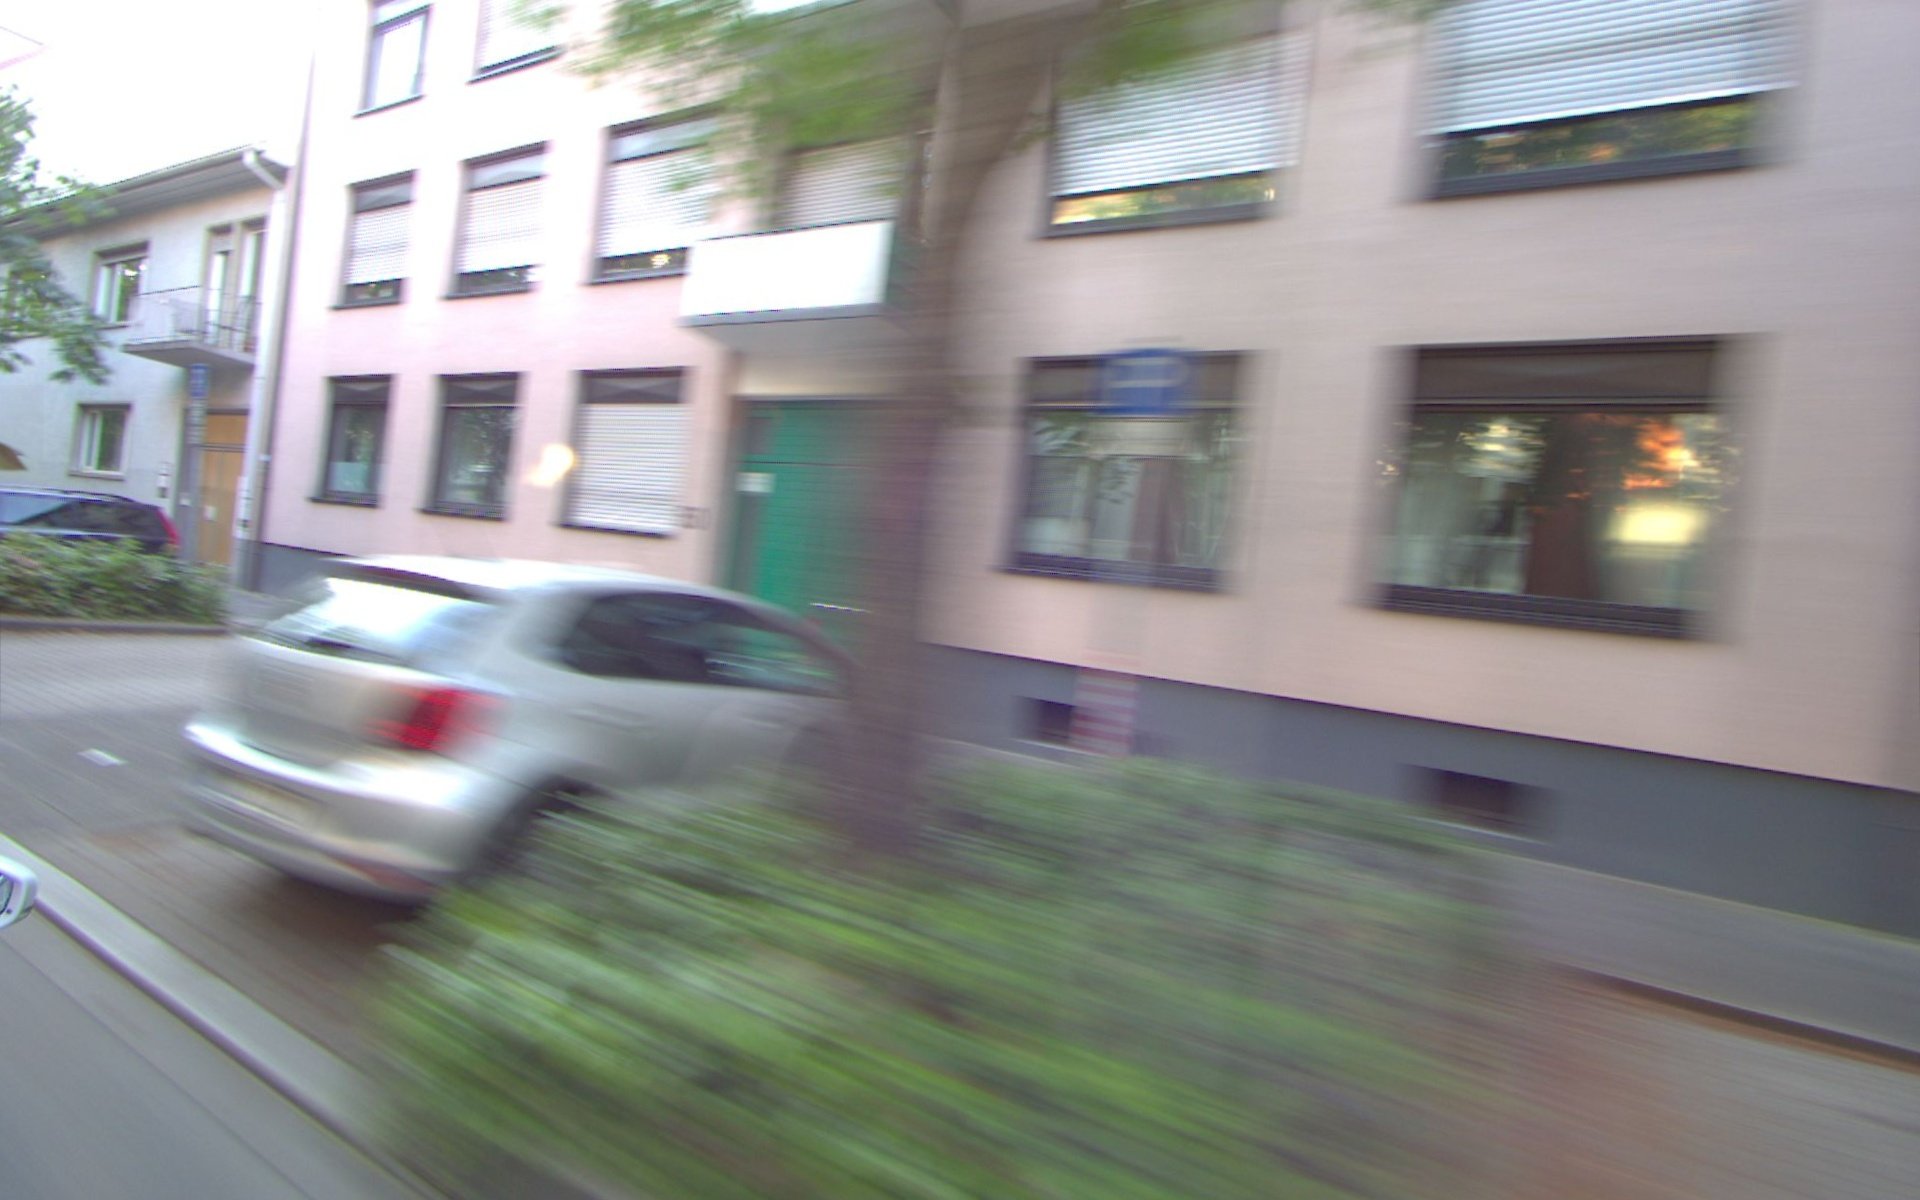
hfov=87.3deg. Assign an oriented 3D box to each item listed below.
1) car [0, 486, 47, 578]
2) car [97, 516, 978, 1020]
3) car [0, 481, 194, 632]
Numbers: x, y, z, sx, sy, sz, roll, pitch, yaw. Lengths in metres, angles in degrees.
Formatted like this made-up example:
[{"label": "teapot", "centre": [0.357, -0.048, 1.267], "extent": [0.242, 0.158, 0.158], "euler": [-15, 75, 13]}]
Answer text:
[{"label": "car", "centre": [-18.177, -1.372, 16.250], "extent": [1.930, 1.541, 4.686], "euler": [7, 1, 32]}, {"label": "car", "centre": [-1.669, 0.596, 5.274], "extent": [1.816, 1.458, 3.882], "euler": [7, 1, 29]}, {"label": "car", "centre": [-12.903, -0.737, 12.647], "extent": [1.918, 1.730, 4.723], "euler": [8, -1, 33]}]
